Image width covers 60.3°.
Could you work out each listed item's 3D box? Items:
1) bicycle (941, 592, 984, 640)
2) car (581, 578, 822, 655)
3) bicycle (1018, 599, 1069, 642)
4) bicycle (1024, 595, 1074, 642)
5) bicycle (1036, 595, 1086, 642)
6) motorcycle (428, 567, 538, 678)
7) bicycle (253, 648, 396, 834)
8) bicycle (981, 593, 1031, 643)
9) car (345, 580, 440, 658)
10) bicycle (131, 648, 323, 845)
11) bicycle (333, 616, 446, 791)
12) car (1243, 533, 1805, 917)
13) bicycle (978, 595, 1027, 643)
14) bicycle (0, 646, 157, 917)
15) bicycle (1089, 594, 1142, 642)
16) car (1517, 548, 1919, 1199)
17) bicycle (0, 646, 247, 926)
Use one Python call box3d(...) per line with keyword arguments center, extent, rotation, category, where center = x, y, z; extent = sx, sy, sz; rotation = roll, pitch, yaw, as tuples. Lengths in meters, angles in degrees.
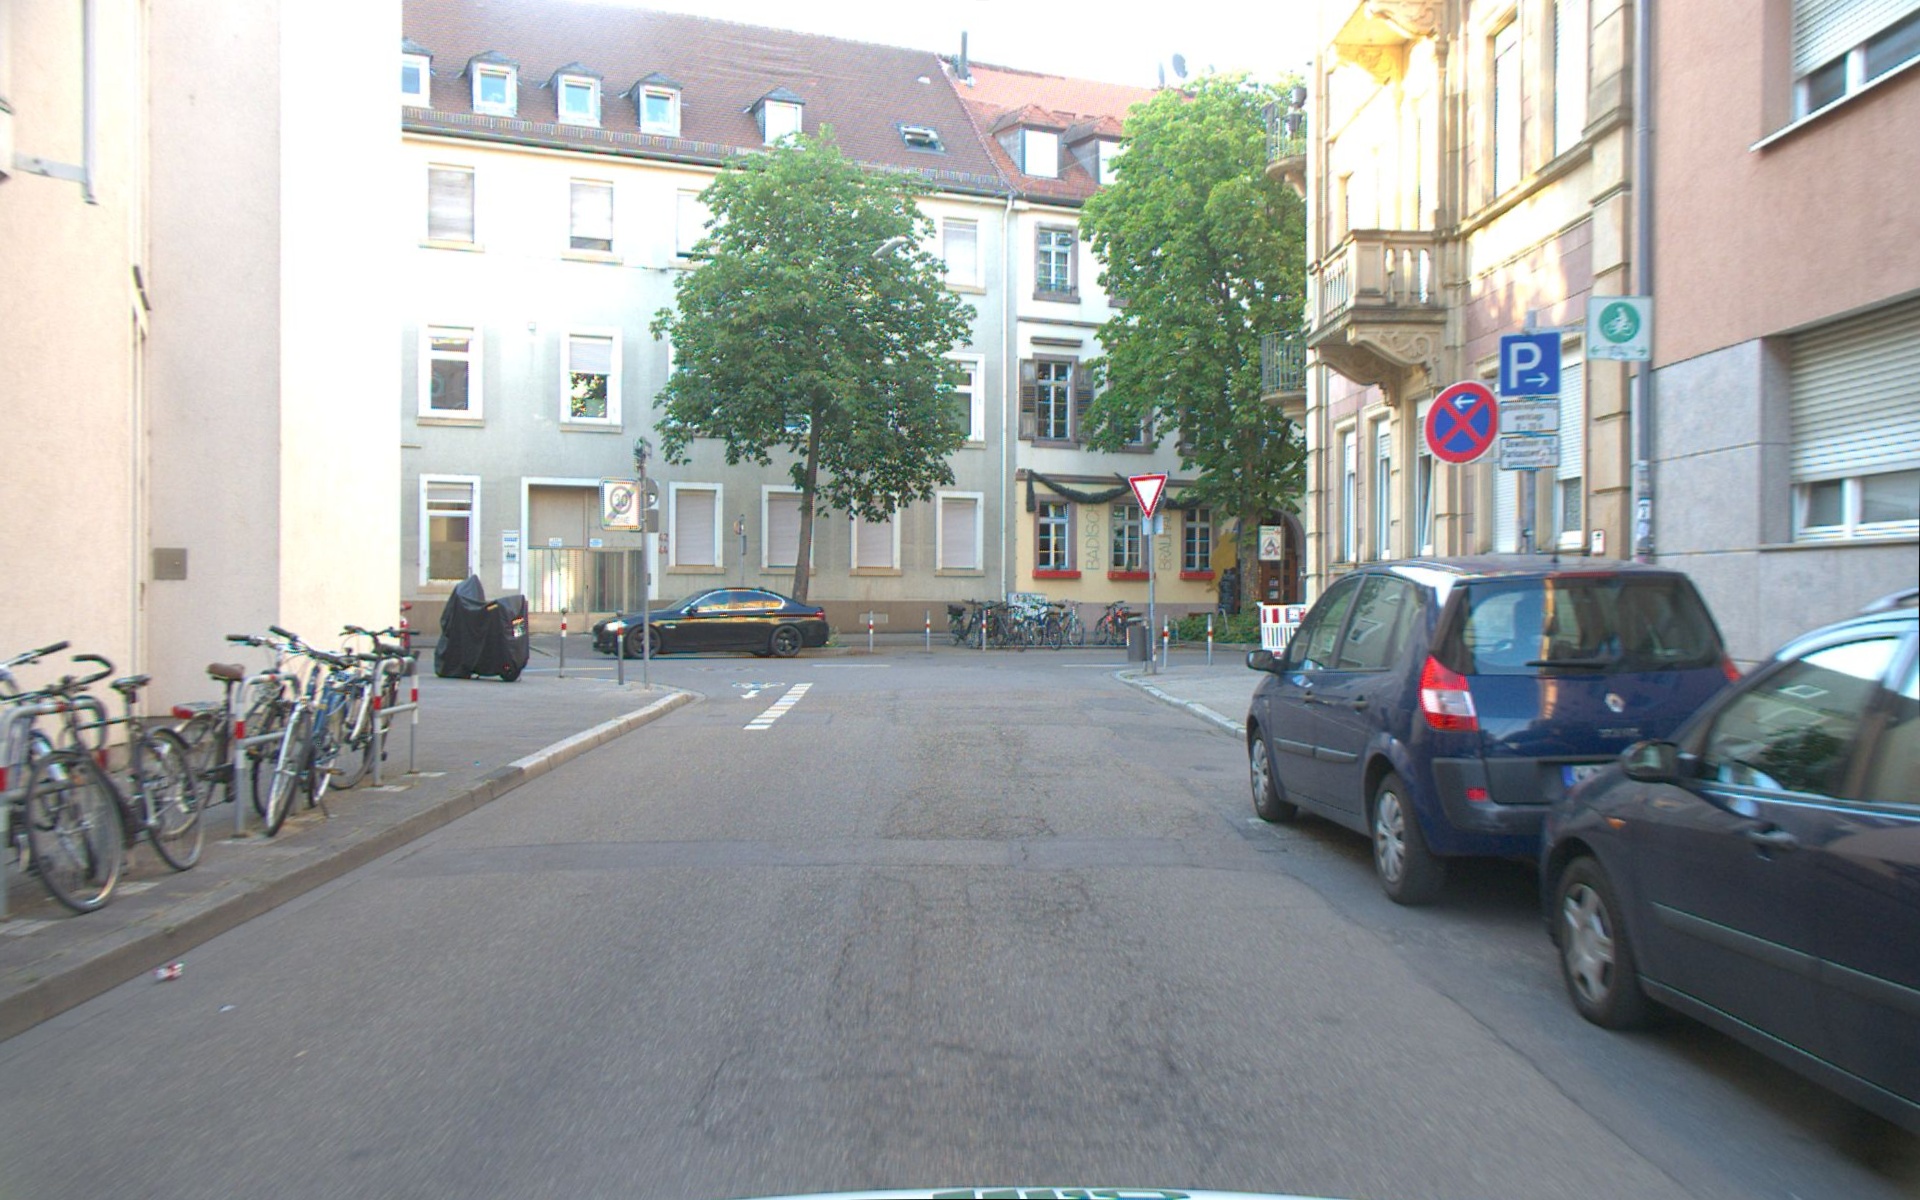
box3d(center=(0.057, 0.393, 41.460), extent=(0.438, 1.165, 2.031), rotation=(0, 0, -19), category="bicycle")
box3d(center=(-5.255, 0.305, 33.623), extent=(4.588, 1.475, 1.756), rotation=(0, 0, -22), category="car")
box3d(center=(2.057, 0.503, 41.021), extent=(0.414, 1.021, 2.027), rotation=(0, 0, -24), category="bicycle")
box3d(center=(2.259, 0.461, 42.160), extent=(0.414, 1.165, 2.027), rotation=(0, 0, -24), category="bicycle")
box3d(center=(2.596, 0.469, 42.701), extent=(0.414, 1.165, 2.027), rotation=(0, 0, -24), category="bicycle")
box3d(center=(-7.098, 0.311, 24.549), extent=(0.664, 1.582, 2.128), rotation=(0, 0, -43), category="motorcycle")
box3d(center=(-3.819, 0.806, 10.041), extent=(0.301, 0.948, 1.811), rotation=(1, 1, -4), category="bicycle")
box3d(center=(1.104, 0.429, 40.078), extent=(0.439, 1.165, 2.028), rotation=(0, 0, -22), category="bicycle")
box3d(center=(-12.001, 0.354, 34.882), extent=(1.541, 1.501, 3.639), rotation=(0, 1, -25), category="car")
box3d(center=(-4.169, 0.792, 9.531), extent=(0.300, 0.948, 1.813), rotation=(1, 1, 0), category="bicycle")
box3d(center=(-4.092, 0.702, 11.947), extent=(0.392, 1.121, 1.810), rotation=(0, 1, -7), category="bicycle")
box3d(center=(2.784, 0.518, 9.162), extent=(1.655, 1.653, 4.054), rotation=(0, 1, -1), category="car")
box3d(center=(1.063, 0.462, 41.786), extent=(0.414, 1.165, 2.027), rotation=(0, 0, -24), category="bicycle")
box3d(center=(-4.106, 0.770, 7.237), extent=(0.300, 1.060, 1.813), rotation=(1, 1, 0), category="bicycle")
box3d(center=(3.946, 0.445, 42.177), extent=(0.414, 1.165, 2.027), rotation=(0, 0, -24), category="bicycle")
box3d(center=(3.047, 0.648, 4.326), extent=(1.655, 1.540, 4.282), rotation=(0, 1, -1), category="car")
box3d(center=(-3.807, 0.775, 7.580), extent=(0.300, 1.060, 1.813), rotation=(0, 1, 0), category="bicycle")
